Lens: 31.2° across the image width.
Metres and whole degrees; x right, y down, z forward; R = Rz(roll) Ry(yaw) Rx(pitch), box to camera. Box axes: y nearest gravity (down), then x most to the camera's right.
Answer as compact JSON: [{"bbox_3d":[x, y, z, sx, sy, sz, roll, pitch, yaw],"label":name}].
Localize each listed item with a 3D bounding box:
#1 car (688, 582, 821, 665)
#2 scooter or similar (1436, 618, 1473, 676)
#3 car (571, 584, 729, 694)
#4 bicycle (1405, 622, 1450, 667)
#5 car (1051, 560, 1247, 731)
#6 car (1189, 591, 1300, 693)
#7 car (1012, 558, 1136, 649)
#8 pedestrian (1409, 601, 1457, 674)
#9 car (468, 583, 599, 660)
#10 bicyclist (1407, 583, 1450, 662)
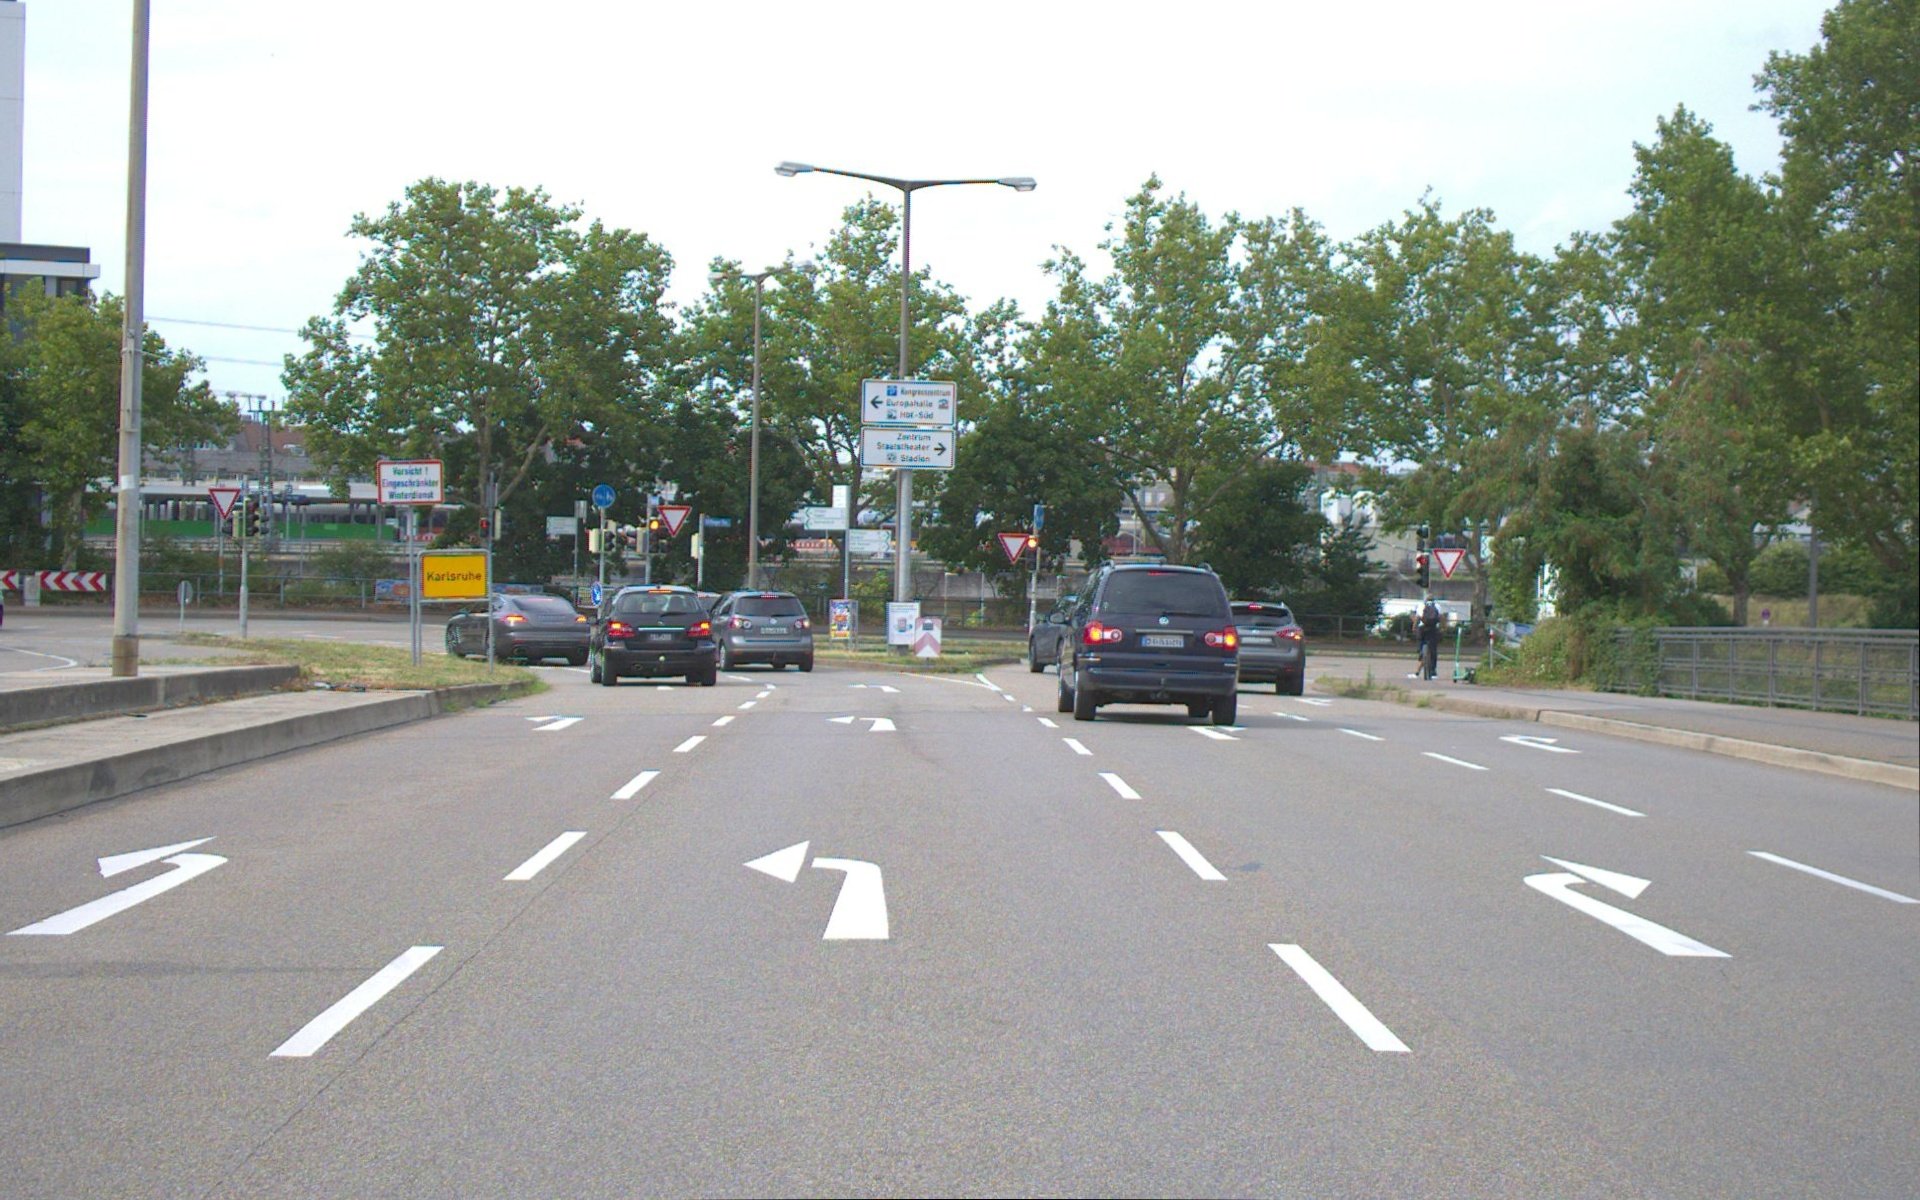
[{"bbox_3d":[-4.003,0.438,66.452,1.740,1.541,4.083,1,0,-16],"label":"car"},{"bbox_3d":[10.060,0.951,69.971,0.396,1.179,1.281,1,-1,-8],"label":"scooter or similar"},{"bbox_3d":[-4.966,0.586,54.597,1.756,1.570,4.038,2,1,-16],"label":"car"},{"bbox_3d":[10.133,0.956,74.468,0.809,0.949,2.234,1,0,12],"label":"bicycle"},{"bbox_3d":[2.048,0.496,38.286,1.750,1.719,4.138,3,-1,-2],"label":"car"},{"bbox_3d":[4.925,0.729,59.921,1.750,1.637,4.137,3,-1,3],"label":"car"},{"bbox_3d":[2.132,0.071,65.580,1.690,1.580,4.157,3,-1,-7],"label":"car"},{"bbox_3d":[11.324,0.886,82.250,1.047,1.704,0.853,2,0,10],"label":"pedestrian"},{"bbox_3d":[-8.552,0.406,68.615,1.818,1.409,4.778,2,0,-16],"label":"car"},{"bbox_3d":[10.152,0.488,74.515,0.811,1.690,1.115,1,0,12],"label":"bicyclist"}]
